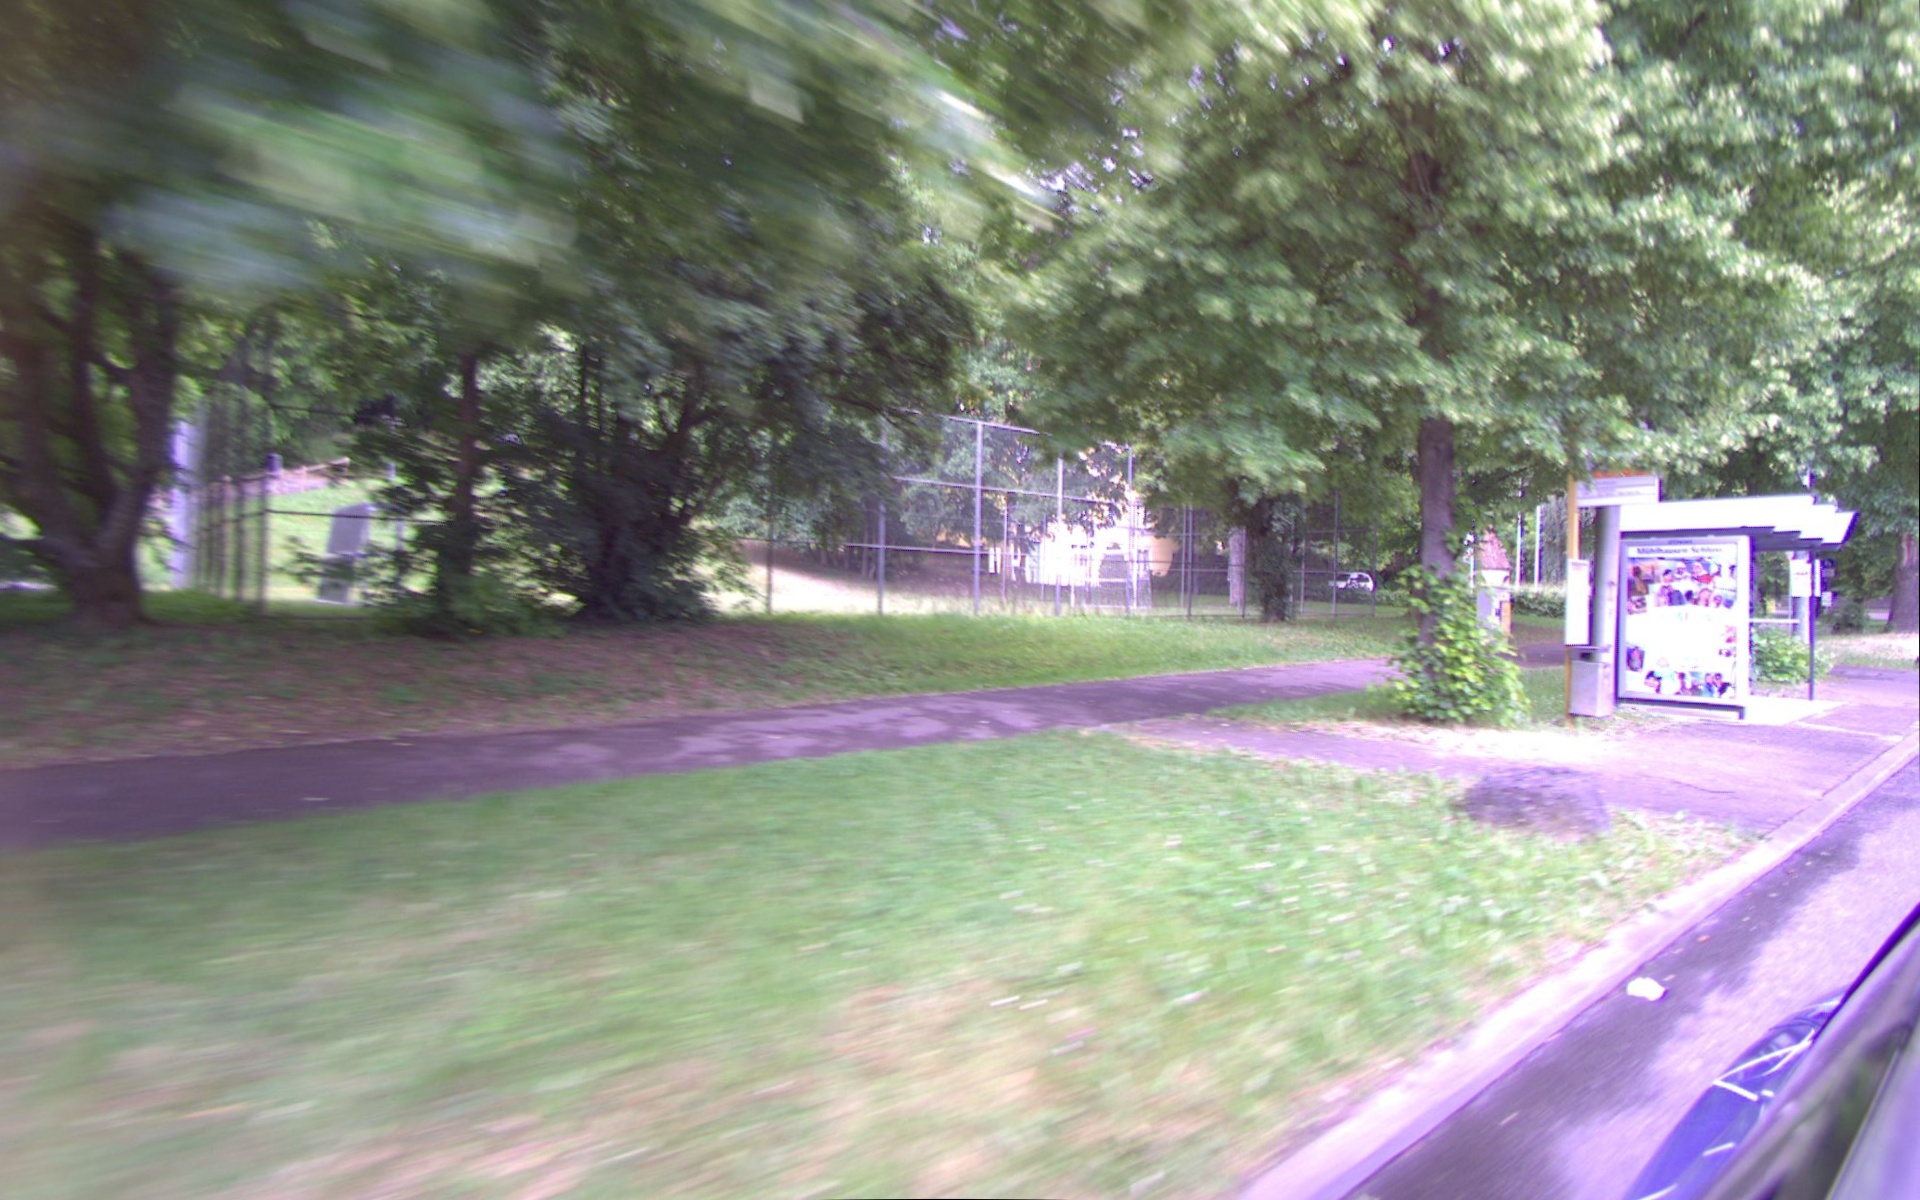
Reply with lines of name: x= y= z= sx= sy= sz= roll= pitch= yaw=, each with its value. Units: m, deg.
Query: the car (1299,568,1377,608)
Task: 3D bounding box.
car: x=19.072 y=-0.593 z=50.952 sx=3.931 sy=1.671 sz=1.998 roll=3 pitch=3 yaw=-42
